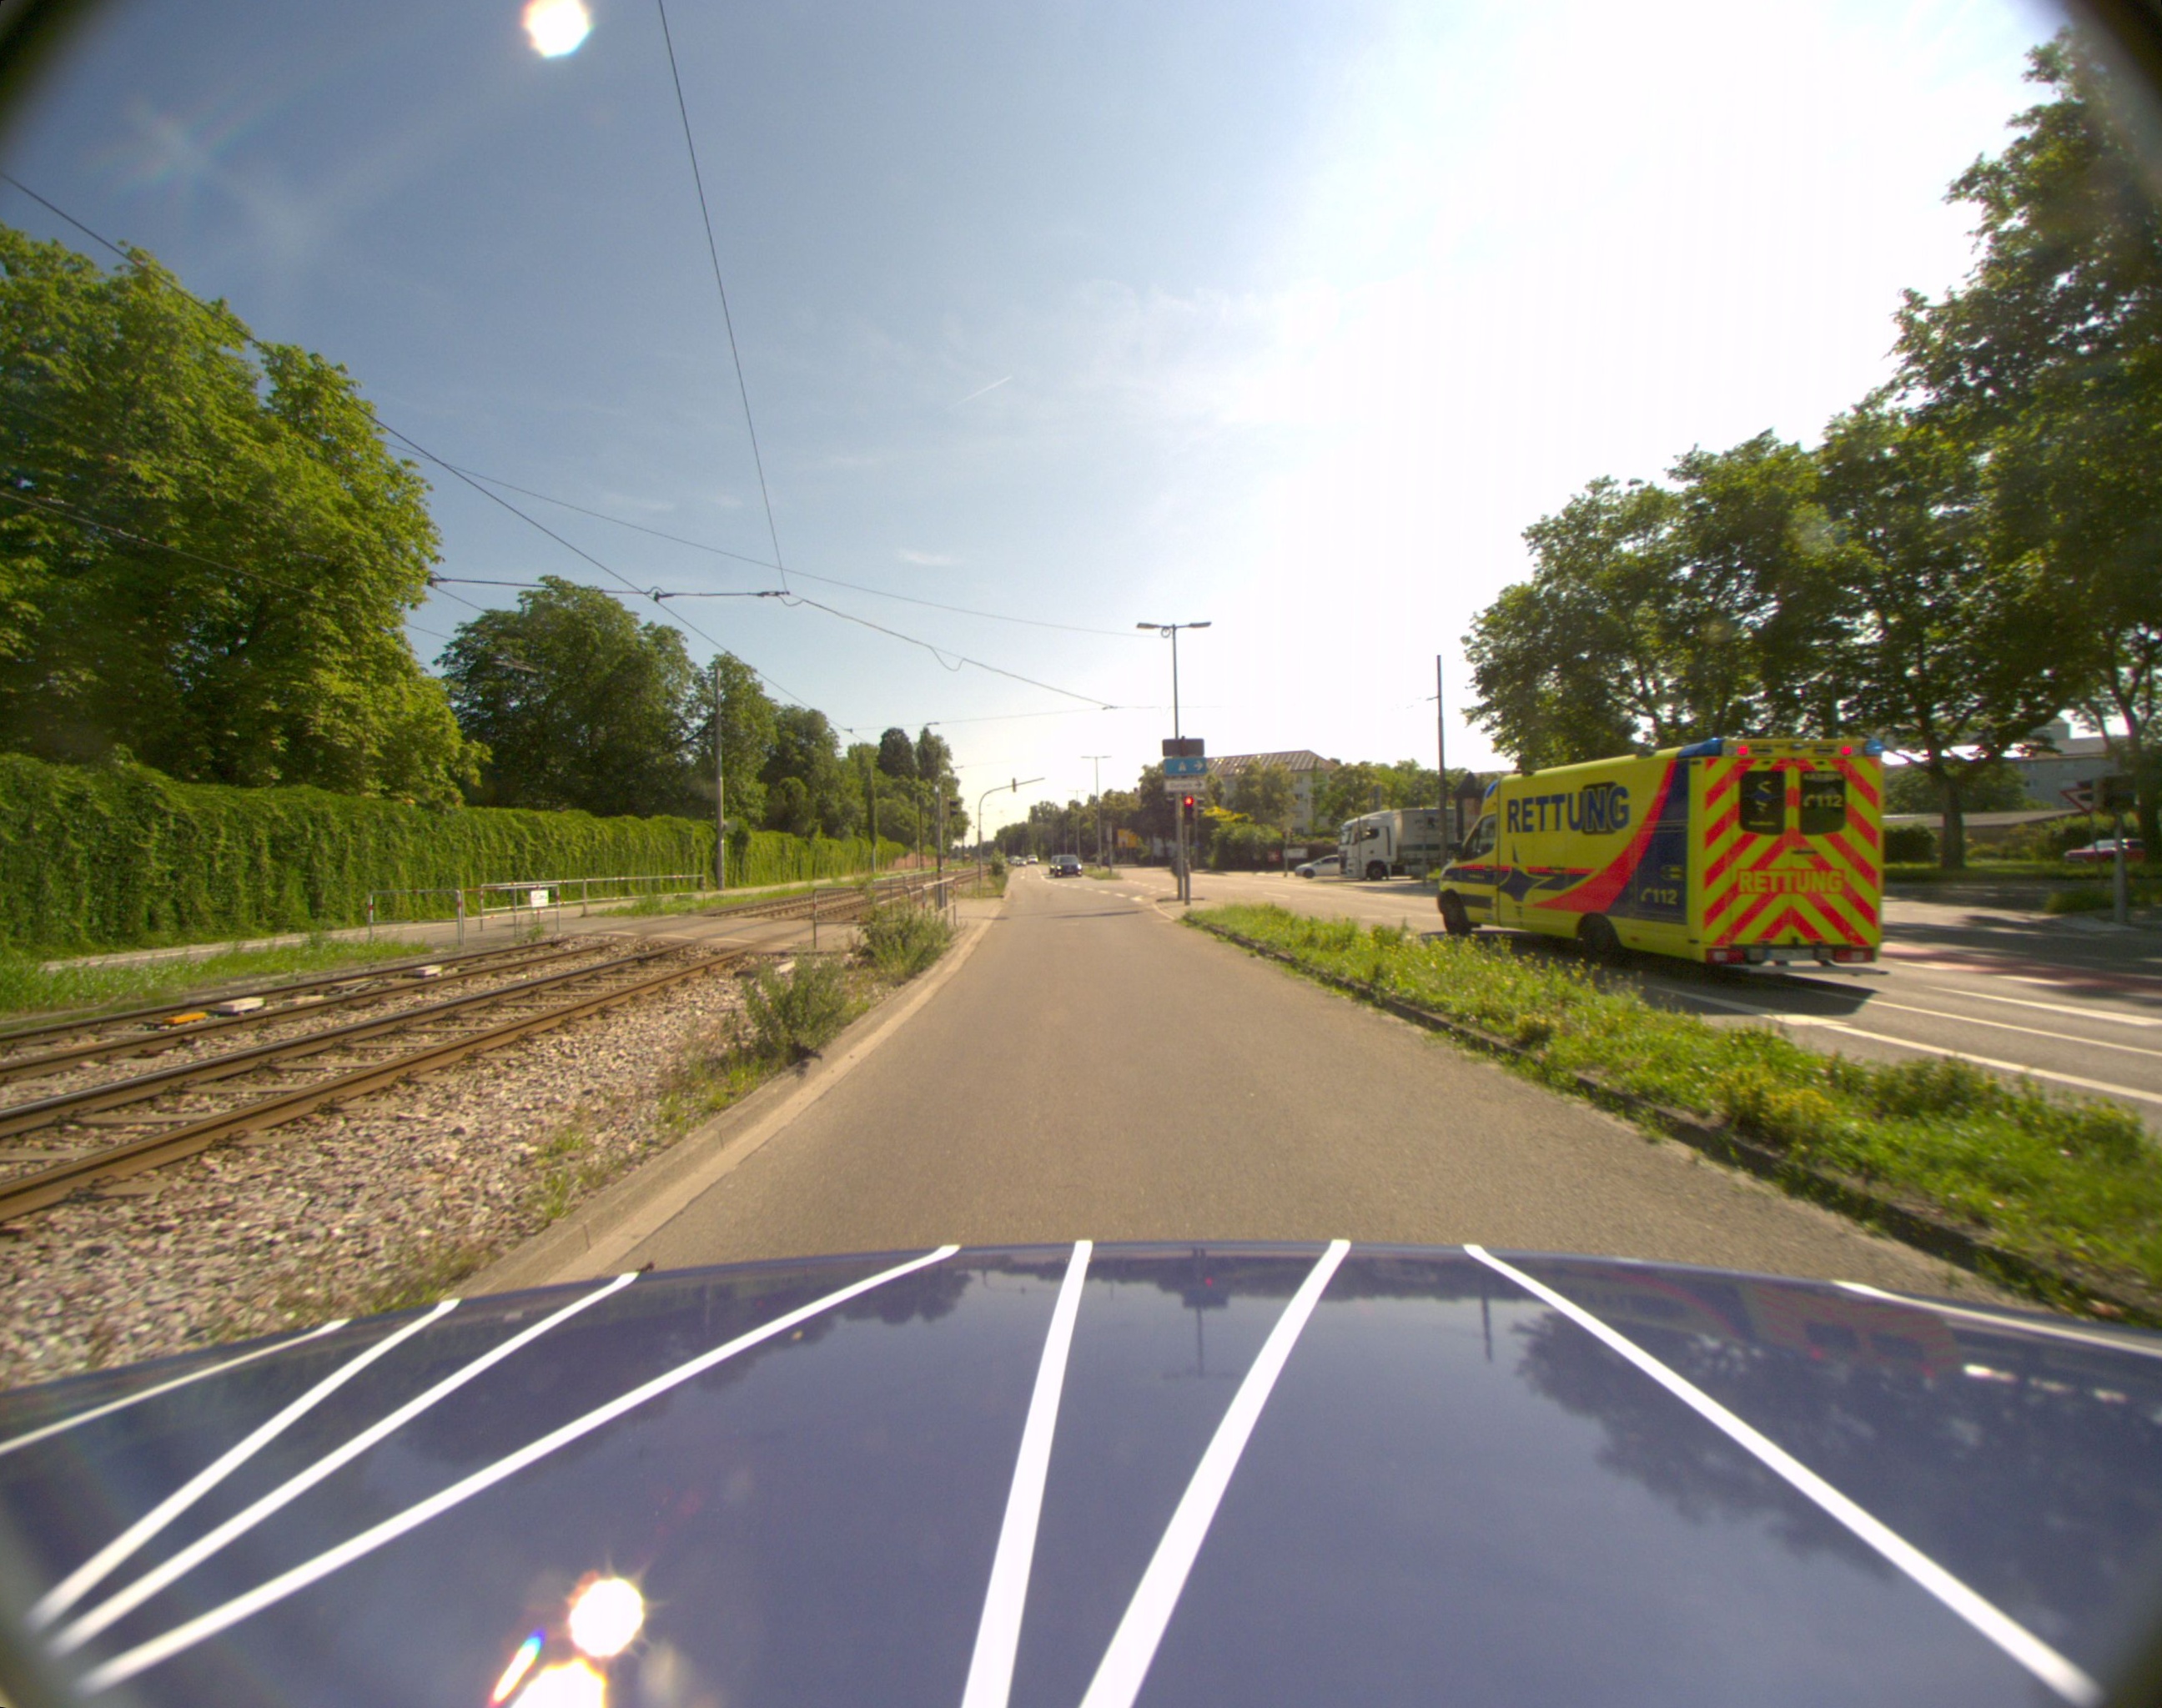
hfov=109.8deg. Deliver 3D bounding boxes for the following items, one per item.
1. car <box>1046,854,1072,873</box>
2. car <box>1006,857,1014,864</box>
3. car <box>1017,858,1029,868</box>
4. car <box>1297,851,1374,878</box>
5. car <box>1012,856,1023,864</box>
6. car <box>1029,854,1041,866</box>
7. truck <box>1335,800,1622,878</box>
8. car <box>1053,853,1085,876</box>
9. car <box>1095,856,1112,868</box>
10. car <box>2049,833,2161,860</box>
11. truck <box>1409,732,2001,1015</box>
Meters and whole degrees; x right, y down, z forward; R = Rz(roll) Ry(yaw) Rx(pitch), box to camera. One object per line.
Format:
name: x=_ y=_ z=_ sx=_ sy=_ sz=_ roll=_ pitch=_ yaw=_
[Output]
car: x=-1.959 y=0.773 z=66.431 sx=1.756 sy=1.573 sz=4.502 roll=-1 pitch=0 yaw=-8
car: x=-17.693 y=1.515 z=189.965 sx=1.931 sy=1.593 sz=4.465 roll=-2 pitch=0 yaw=-6
car: x=-9.857 y=1.507 z=129.281 sx=1.931 sy=1.593 sz=4.466 roll=-2 pitch=0 yaw=-5
car: x=15.758 y=0.639 z=47.116 sx=4.388 sy=1.501 sz=1.759 roll=-2 pitch=-1 yaw=20
car: x=-12.310 y=1.133 z=147.208 sx=1.931 sy=1.593 sz=4.465 roll=-2 pitch=0 yaw=-6
car: x=-9.700 y=1.204 z=160.776 sx=2.265 sy=2.336 sz=5.227 roll=-2 pitch=0 yaw=-5
truck: x=21.862 y=-0.786 z=42.380 sx=14.289 sy=3.984 sz=2.855 roll=-1 pitch=1 yaw=3
car: x=-0.913 y=0.754 z=54.962 sx=1.756 sy=1.573 sz=4.502 roll=-1 pitch=0 yaw=-8
car: x=3.144 y=1.131 z=105.954 sx=1.756 sy=1.573 sz=4.503 roll=0 pitch=0 yaw=-6
car: x=59.036 y=-0.418 z=43.600 sx=4.366 sy=1.360 sz=1.757 roll=-2 pitch=-1 yaw=5
truck: x=7.497 y=0.170 z=10.864 sx=2.336 sy=2.652 sz=7.358 roll=-1 pitch=0 yaw=-1
